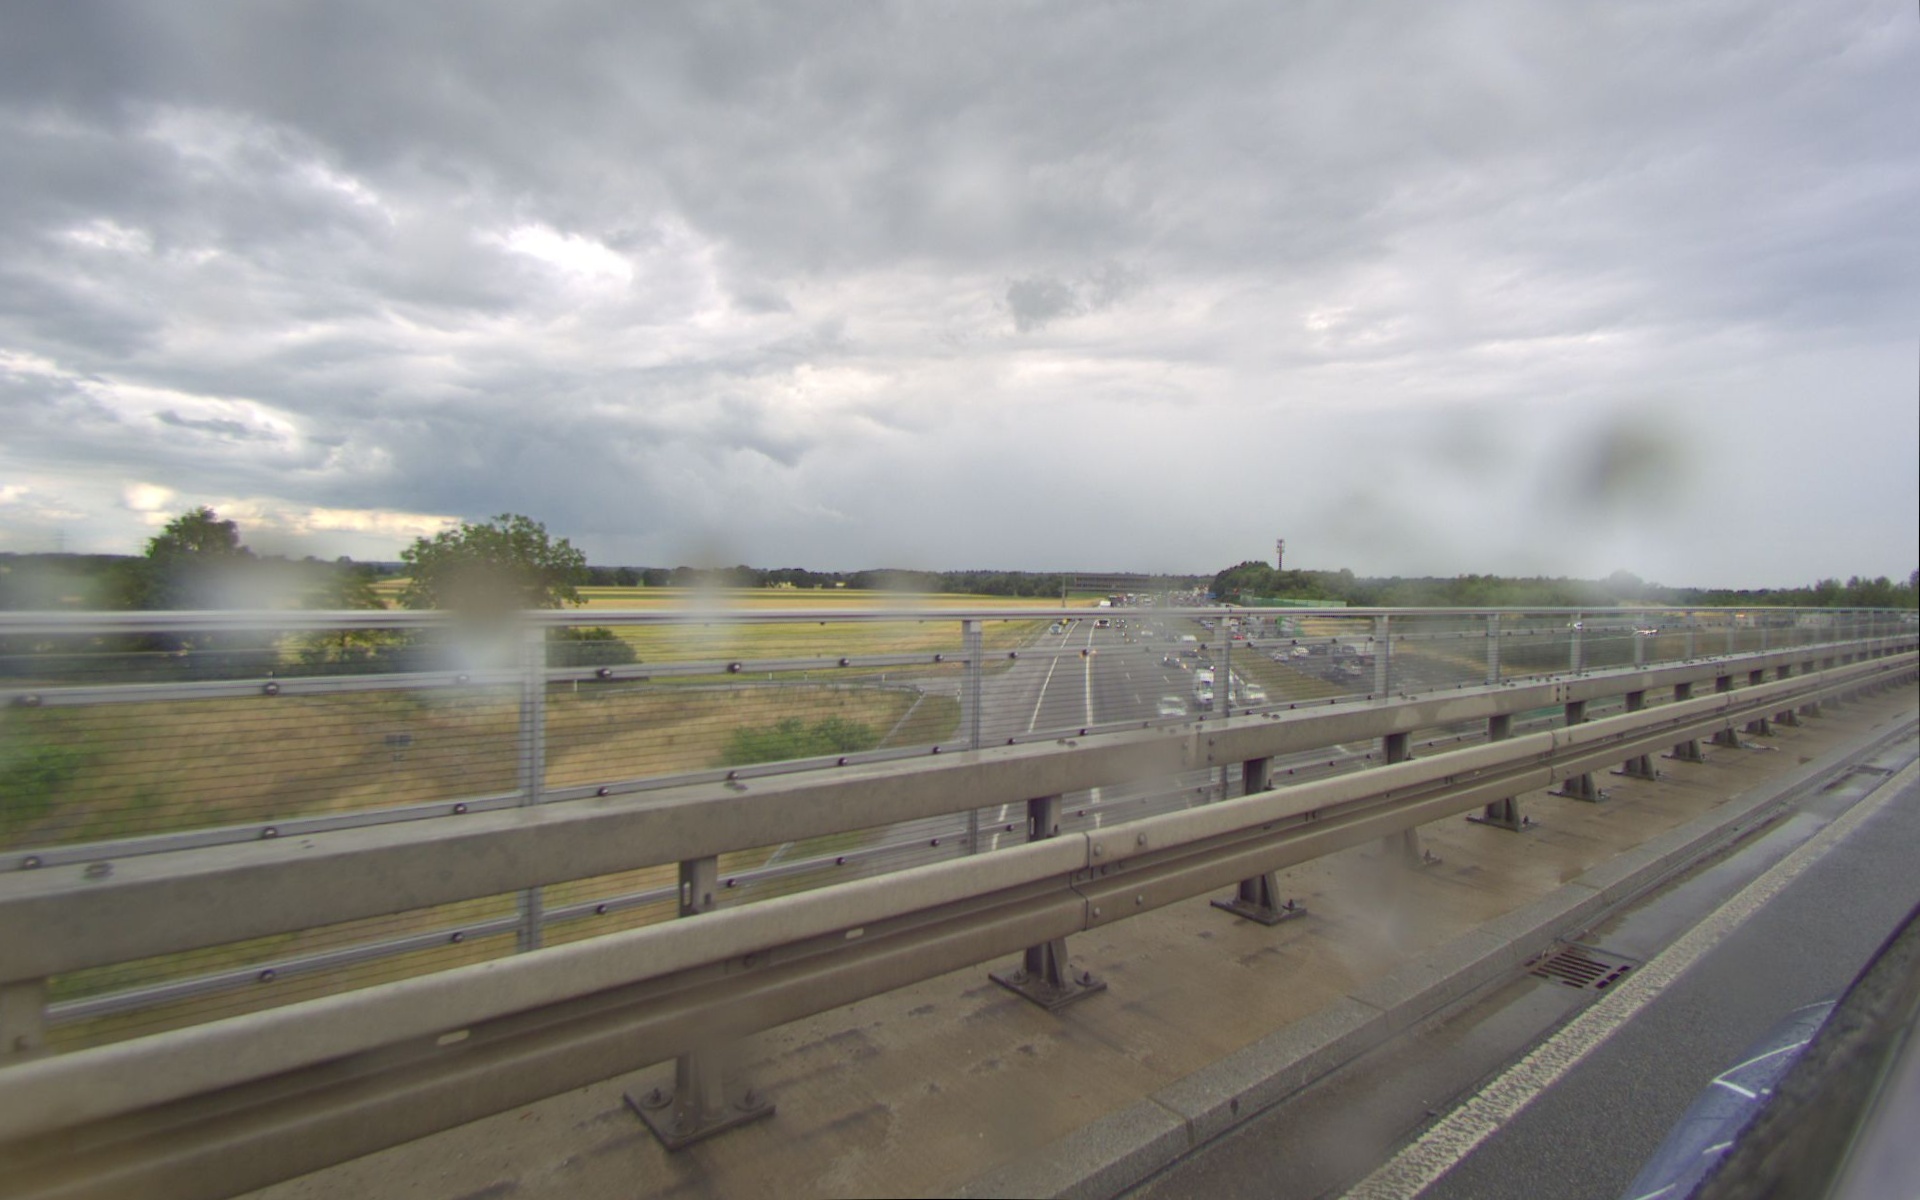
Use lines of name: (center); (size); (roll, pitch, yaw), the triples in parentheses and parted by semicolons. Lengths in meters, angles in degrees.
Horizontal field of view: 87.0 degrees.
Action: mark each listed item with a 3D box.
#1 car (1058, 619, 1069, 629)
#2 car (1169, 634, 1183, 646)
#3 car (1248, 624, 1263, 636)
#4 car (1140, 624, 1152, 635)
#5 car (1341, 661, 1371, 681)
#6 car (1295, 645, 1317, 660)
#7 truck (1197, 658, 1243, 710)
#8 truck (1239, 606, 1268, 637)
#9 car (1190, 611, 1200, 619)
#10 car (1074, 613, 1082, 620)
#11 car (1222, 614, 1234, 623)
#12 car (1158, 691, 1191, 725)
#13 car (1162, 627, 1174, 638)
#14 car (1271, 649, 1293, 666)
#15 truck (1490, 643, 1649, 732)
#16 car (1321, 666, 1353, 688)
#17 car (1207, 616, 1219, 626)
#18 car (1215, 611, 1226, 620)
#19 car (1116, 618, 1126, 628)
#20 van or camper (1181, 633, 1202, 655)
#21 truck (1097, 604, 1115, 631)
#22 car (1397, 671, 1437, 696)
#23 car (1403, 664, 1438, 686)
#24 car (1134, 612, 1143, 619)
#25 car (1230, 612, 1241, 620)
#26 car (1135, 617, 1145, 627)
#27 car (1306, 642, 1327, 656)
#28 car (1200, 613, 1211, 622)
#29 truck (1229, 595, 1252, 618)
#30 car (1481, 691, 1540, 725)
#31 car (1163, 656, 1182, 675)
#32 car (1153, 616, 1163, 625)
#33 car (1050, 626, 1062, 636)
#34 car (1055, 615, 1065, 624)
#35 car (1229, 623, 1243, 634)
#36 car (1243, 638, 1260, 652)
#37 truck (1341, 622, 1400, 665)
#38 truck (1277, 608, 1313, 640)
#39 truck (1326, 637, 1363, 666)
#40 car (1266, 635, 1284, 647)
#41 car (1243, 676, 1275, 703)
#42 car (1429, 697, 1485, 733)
car: (18.990, 4.308, 185.423); (1.826, 1.690, 4.712); (0, 0, 9)
car: (33.738, 6.233, 157.815); (1.826, 1.690, 4.712); (0, 0, 9)
car: (51.312, 5.178, 175.655); (1.826, 1.797, 4.712); (0, 0, 9)
car: (30.735, 4.838, 167.529); (1.826, 1.690, 4.712); (0, 0, 9)
car: (40.794, 7.299, 104.315); (1.826, 1.690, 4.712); (0, 0, 9)
car: (44.280, 6.719, 129.604); (1.826, 1.690, 4.712); (0, 0, 9)
truck: (19.558, 6.244, 76.559); (2.553, 3.220, 8.374); (0, 0, 9)
truck: (56.162, 3.940, 194.041); (3.241, 5.511, 15.594); (0, 0, 8)
car: (54.725, 3.501, 235.475); (1.826, 1.797, 4.712); (0, 0, 9)
car: (27.413, 3.854, 235.290); (1.784, 1.454, 4.714); (0, 0, 7)
car: (55.176, 3.819, 208.455); (1.826, 1.797, 4.712); (0, 0, 9)
car: (13.932, 6.975, 65.931); (1.784, 1.690, 4.713); (0, 0, 8)
car: (37.067, 5.801, 180.324); (1.826, 1.690, 4.712); (0, 0, 9)
car: (38.559, 6.900, 121.209); (1.826, 1.690, 4.712); (0, 0, 9)
truck: (40.425, 5.527, 68.139); (3.545, 4.595, 15.587); (0, 0, 9)
car: (35.374, 7.172, 95.063); (1.826, 1.690, 4.712); (0, 0, 9)
car: (48.586, 4.014, 194.603); (1.826, 1.797, 4.712); (0, 0, 9)
car: (58.672, 3.466, 227.996); (1.826, 1.797, 4.712); (0, 0, 9)
car: (30.273, 4.284, 189.972); (1.826, 1.690, 4.712); (0, 0, 9)
van or camper: (30.067, 5.640, 131.597); (2.026, 2.481, 7.312); (0, 0, 9)
truck: (28.495, 3.346, 197.313); (2.751, 4.962, 12.710); (0, 0, 12)
car: (38.265, 6.957, 84.904); (1.826, 1.690, 4.712); (0, 0, 9)
car: (43.664, 7.105, 96.098); (1.826, 1.690, 4.712); (0, 0, 9)
car: (41.961, 3.638, 238.175); (1.826, 1.690, 4.712); (0, 0, 9)
car: (61.169, 3.491, 224.595); (1.826, 1.797, 4.712); (0, 0, 9)
car: (34.331, 4.138, 192.951); (1.826, 1.690, 4.712); (0, 0, 9)
car: (48.557, 6.664, 137.744); (1.826, 1.690, 4.712); (0, 0, 9)
car: (52.423, 3.805, 216.451); (1.826, 1.797, 4.712); (0, 0, 9)
truck: (68.943, 1.602, 249.102); (3.435, 5.420, 15.594); (0, 0, 8)
car: (35.833, 7.008, 66.005); (1.826, 1.690, 4.712); (0, 0, 9)
car: (23.607, 7.269, 112.532); (1.784, 1.690, 4.713); (0, 0, 8)
car: (40.399, 4.091, 206.323); (1.826, 1.690, 4.712); (0, 0, 9)
car: (15.714, 5.039, 165.622); (1.784, 1.454, 4.714); (0, 0, 7)
car: (20.143, 3.882, 203.318); (1.826, 1.690, 4.712); (0, 0, 9)
car: (45.741, 4.693, 167.814); (1.826, 1.690, 4.712); (0, 0, 9)
car: (42.125, 6.496, 146.334); (1.826, 1.690, 4.712); (0, 0, 9)
truck: (51.583, 5.315, 127.810); (3.545, 4.595, 15.587); (0, 0, 9)
truck: (58.969, 4.042, 178.792); (3.241, 5.230, 15.594); (0, 0, 8)
truck: (46.194, 6.133, 121.868); (2.175, 3.003, 9.285); (0, 0, 9)
car: (47.542, 6.154, 152.934); (1.826, 1.690, 4.712); (0, 0, 9)
car: (23.553, 7.002, 79.848); (1.784, 1.690, 4.713); (0, 0, 8)
car: (31.426, 7.240, 64.100); (1.826, 1.690, 4.712); (0, 0, 9)
